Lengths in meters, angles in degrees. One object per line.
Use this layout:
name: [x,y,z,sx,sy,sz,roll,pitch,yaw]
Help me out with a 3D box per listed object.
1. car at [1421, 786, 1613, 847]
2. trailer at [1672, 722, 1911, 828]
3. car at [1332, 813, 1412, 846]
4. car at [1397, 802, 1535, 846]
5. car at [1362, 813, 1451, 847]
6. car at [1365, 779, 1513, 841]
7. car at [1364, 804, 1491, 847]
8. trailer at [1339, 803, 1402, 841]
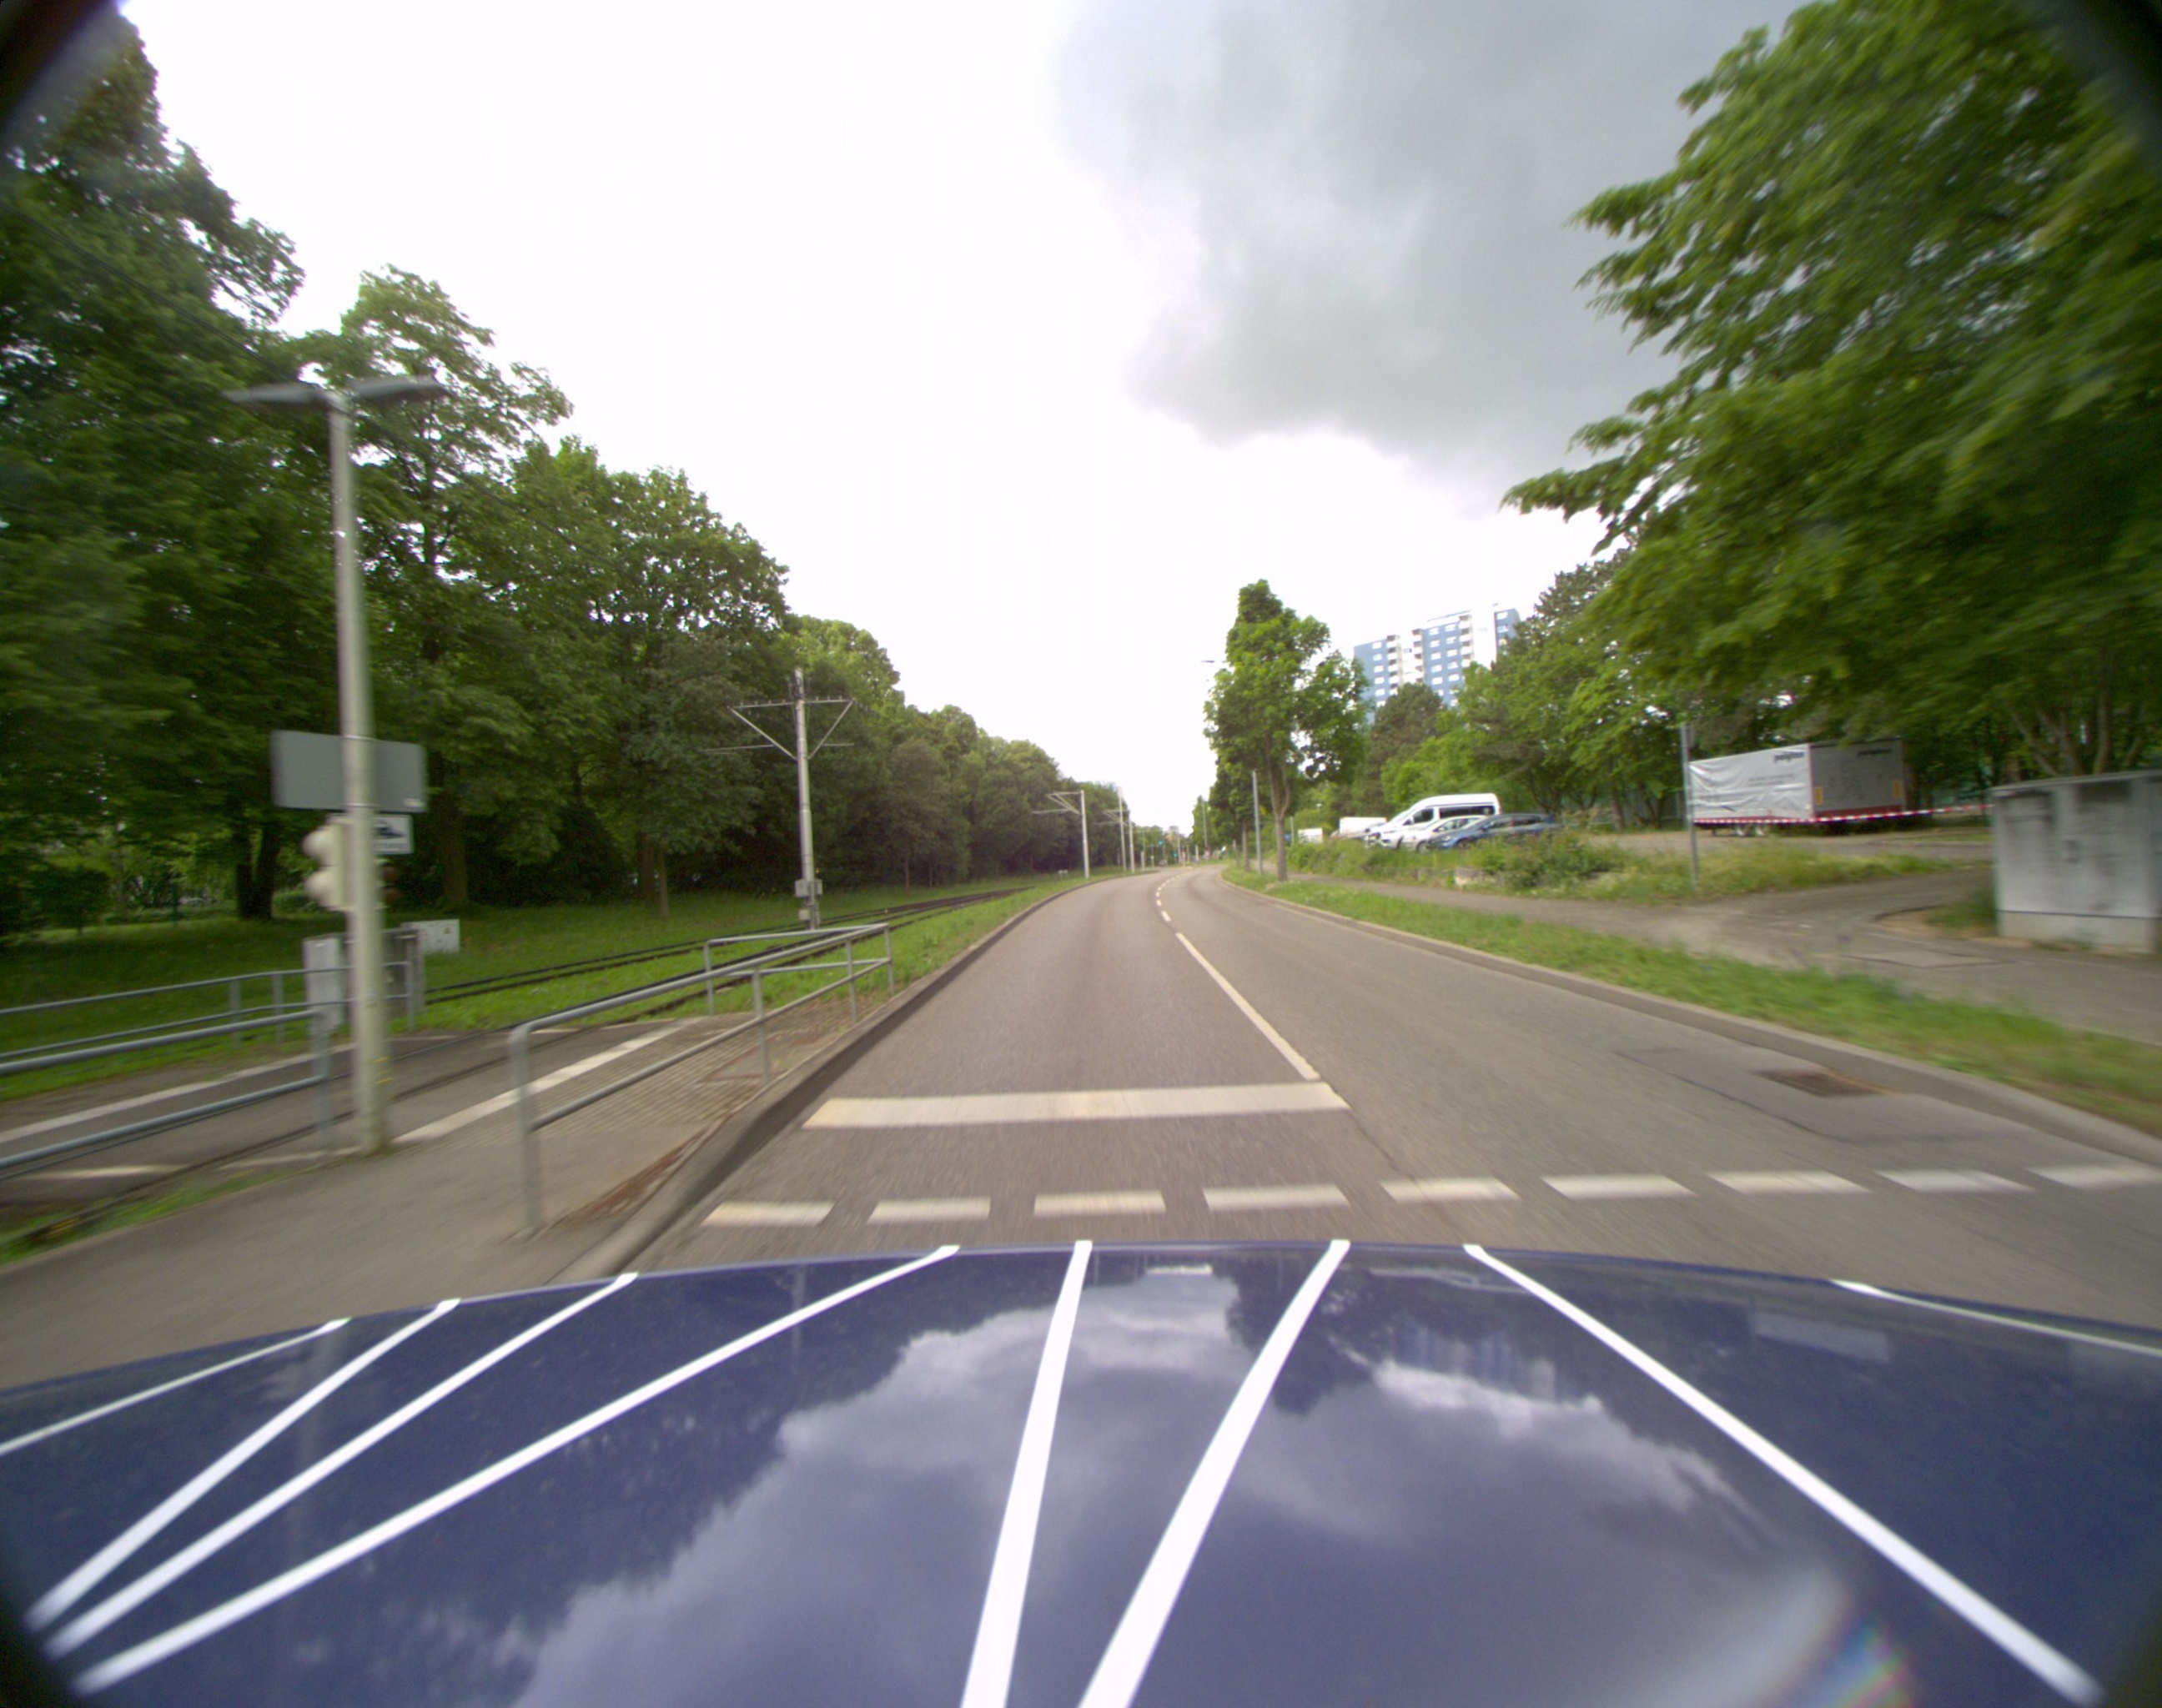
car: [14.417,-1.210,25.405,5.166,1.552,1.887,-4,0,9]
trailer: [25.062,-2.580,27.444,2.653,3.056,7.198,-4,1,9]
car: [16.862,-1.406,44.246,4.041,1.574,2.002,-4,0,13]
car: [14.669,-1.126,29.113,4.386,1.308,1.564,-4,0,9]
car: [17.229,-1.247,40.416,4.041,1.503,1.782,-4,0,13]
car: [15.038,-1.819,32.203,5.166,2.094,2.216,-4,0,9]
car: [15.966,-1.287,35.303,5.002,1.539,2.099,-4,0,13]
trailer: [17.735,-1.940,46.684,3.371,2.046,1.680,-3,0,13]
